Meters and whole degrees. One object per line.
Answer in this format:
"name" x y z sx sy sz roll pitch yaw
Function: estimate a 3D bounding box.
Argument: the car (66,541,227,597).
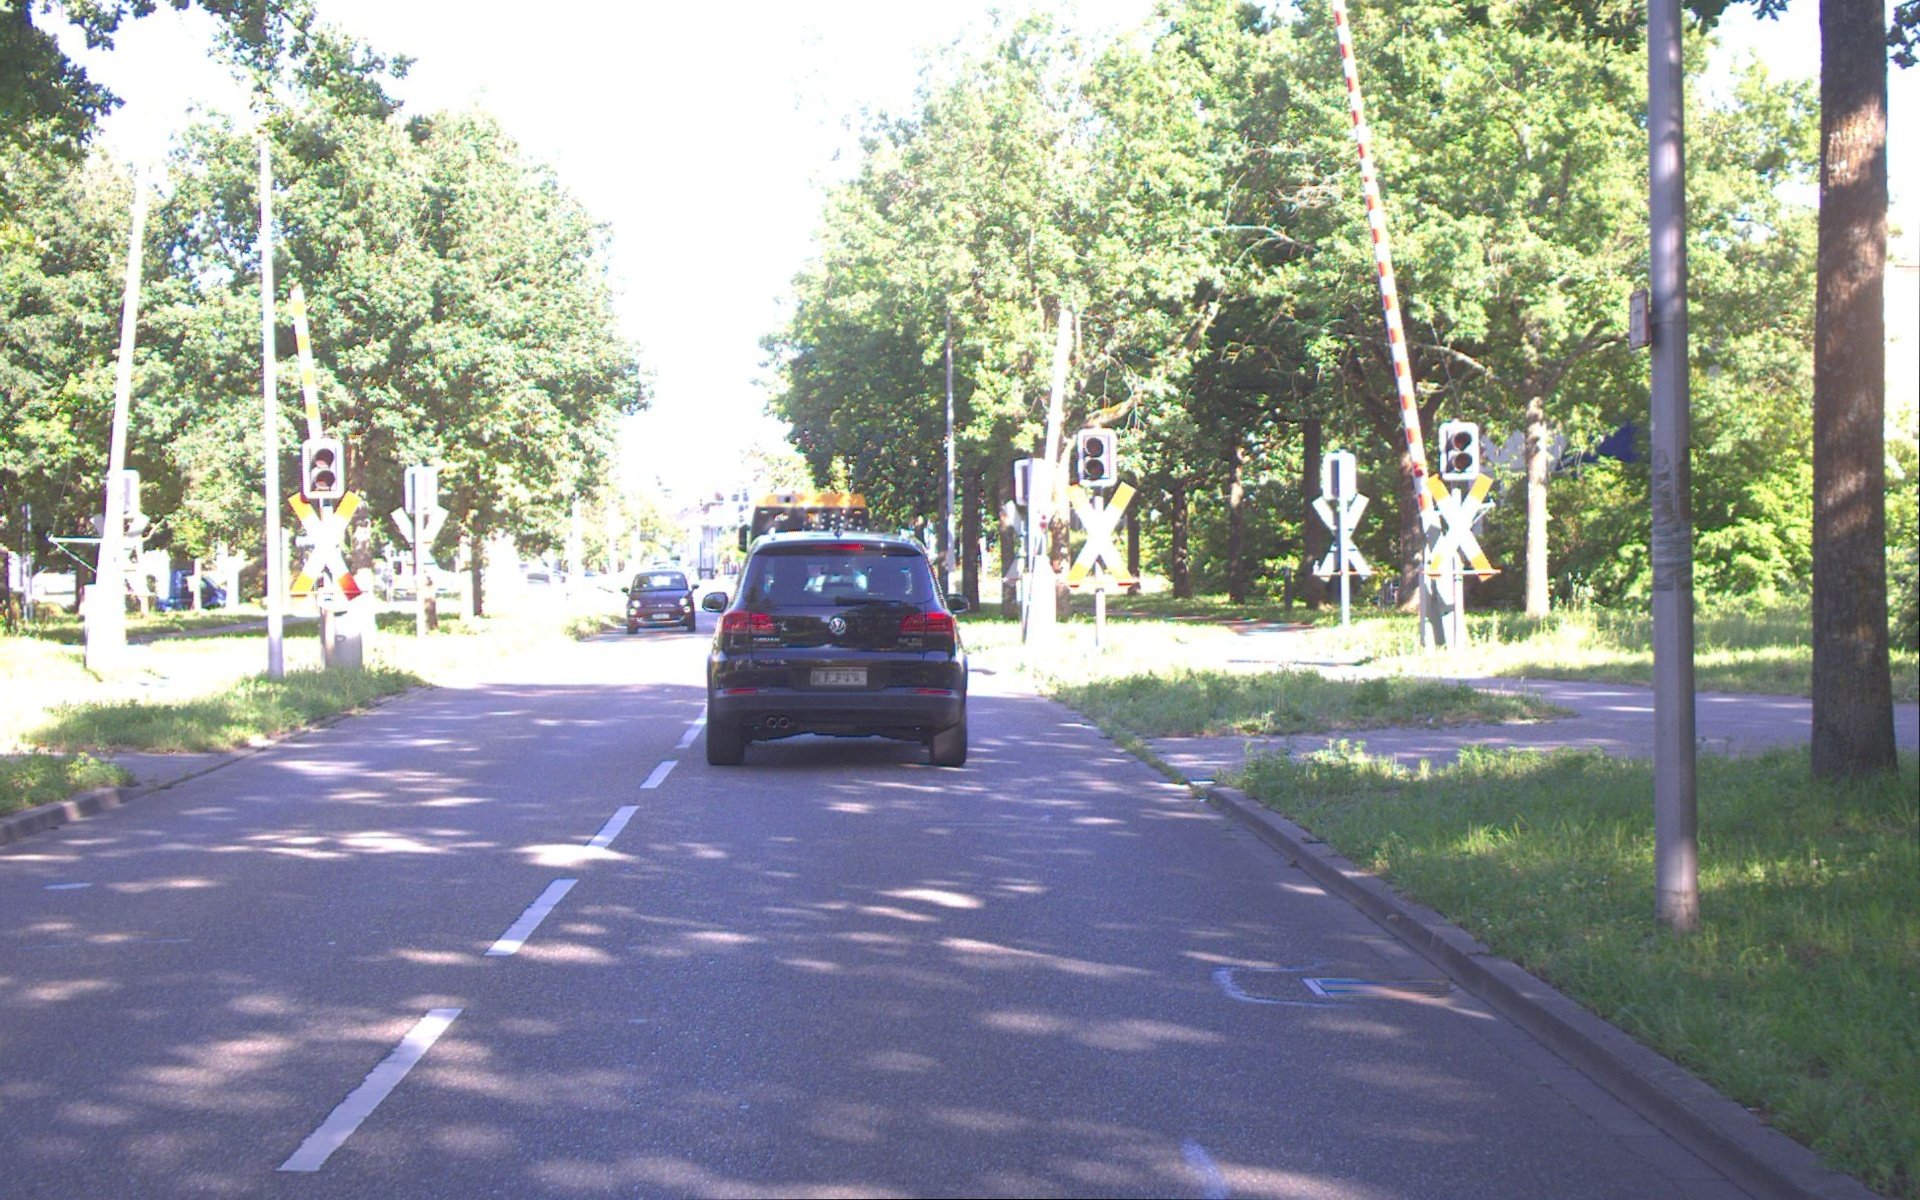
"car" -30.344 -1.146 128.345 5.788 2.007 2.001 1 1 -13

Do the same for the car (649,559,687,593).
"car" -17.842 -1.467 209.950 1.993 2.007 4.001 1 1 -9

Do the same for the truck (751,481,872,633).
"truck" -3.292 -0.991 77.911 2.512 3.232 8.153 -1 1 -1

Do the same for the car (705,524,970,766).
"car" -0.876 0.278 25.409 1.782 1.628 4.000 1 1 -1

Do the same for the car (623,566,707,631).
"car" -7.034 -0.056 82.209 1.565 1.499 4.000 1 1 1
